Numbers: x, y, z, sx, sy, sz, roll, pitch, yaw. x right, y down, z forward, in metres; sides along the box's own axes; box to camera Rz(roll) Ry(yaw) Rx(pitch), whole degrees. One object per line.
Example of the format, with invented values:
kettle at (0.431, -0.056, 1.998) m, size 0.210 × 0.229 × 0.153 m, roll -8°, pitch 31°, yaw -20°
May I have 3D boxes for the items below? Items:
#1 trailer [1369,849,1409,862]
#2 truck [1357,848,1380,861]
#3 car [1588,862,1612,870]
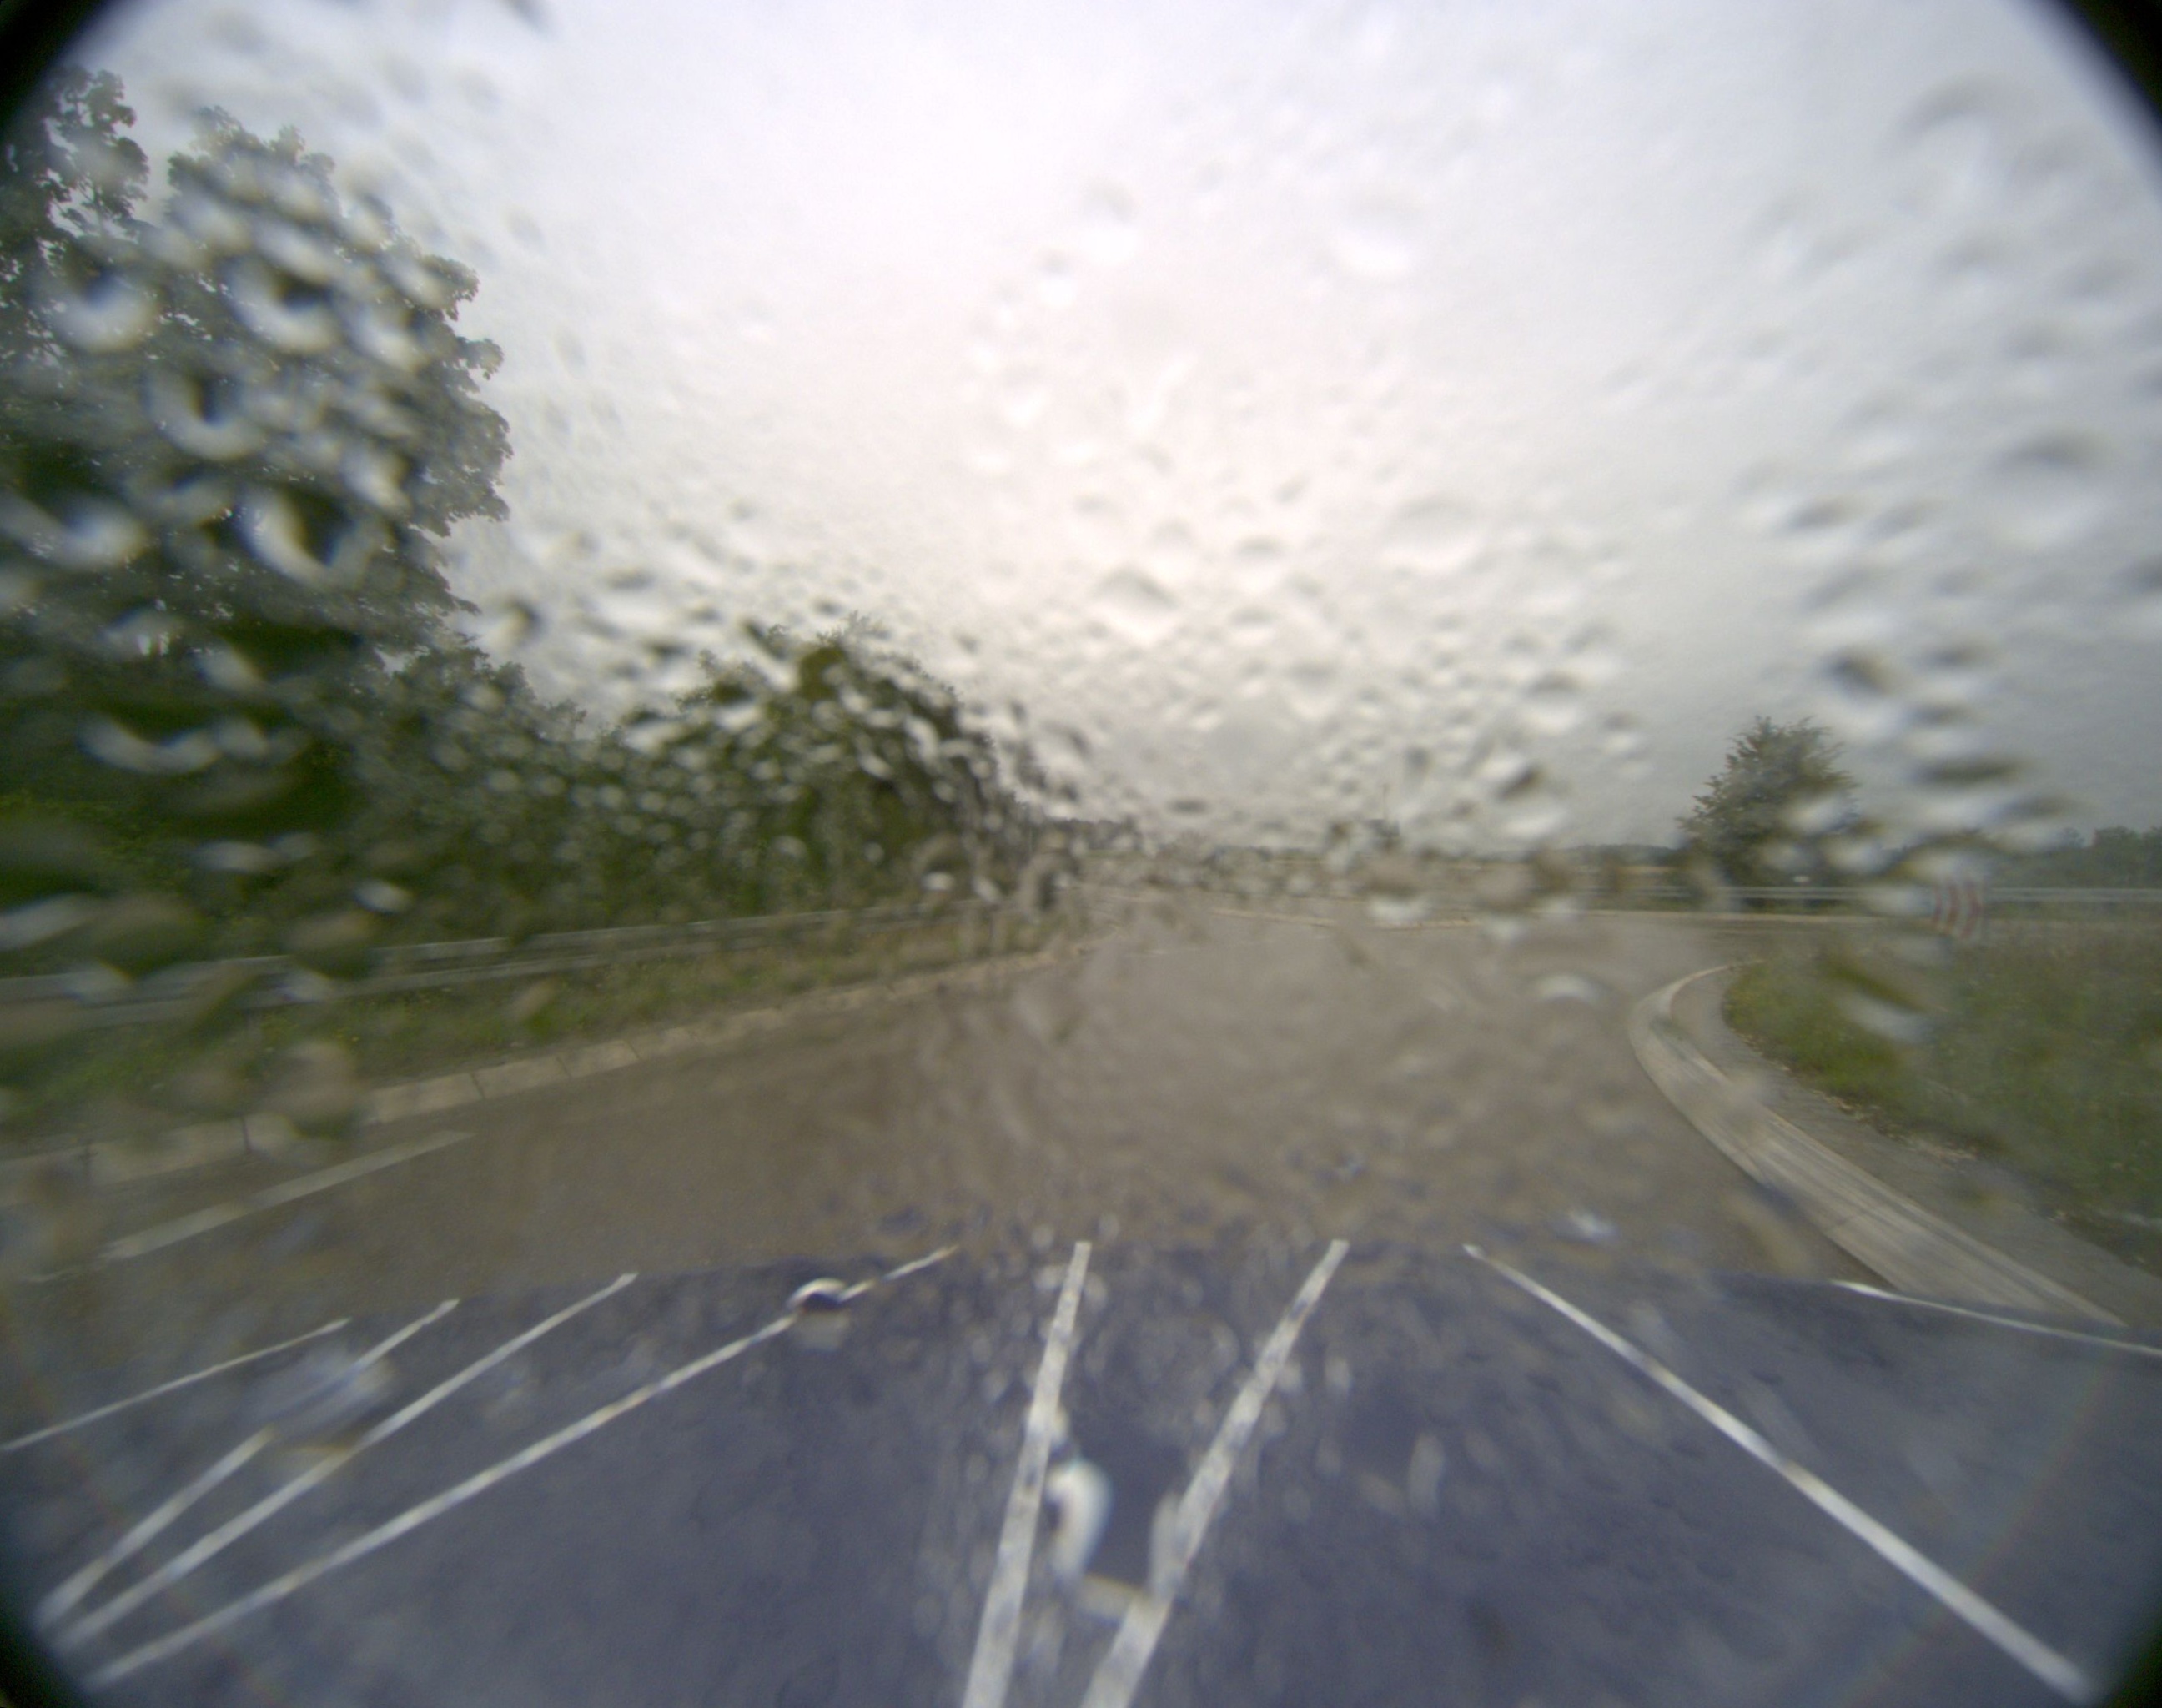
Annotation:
trailer at (97.756, 0.425, 241.372) m, size 2.955 × 3.867 × 11.443 m, roll -3°, pitch 4°, yaw -39°
truck at (93.338, 0.230, 246.732) m, size 2.955 × 3.893 × 6.257 m, roll -3°, pitch 4°, yaw -39°
car at (136.246, 3.126, 199.526) m, size 2.003 × 2.003 × 4.798 m, roll -3°, pitch 4°, yaw -38°
